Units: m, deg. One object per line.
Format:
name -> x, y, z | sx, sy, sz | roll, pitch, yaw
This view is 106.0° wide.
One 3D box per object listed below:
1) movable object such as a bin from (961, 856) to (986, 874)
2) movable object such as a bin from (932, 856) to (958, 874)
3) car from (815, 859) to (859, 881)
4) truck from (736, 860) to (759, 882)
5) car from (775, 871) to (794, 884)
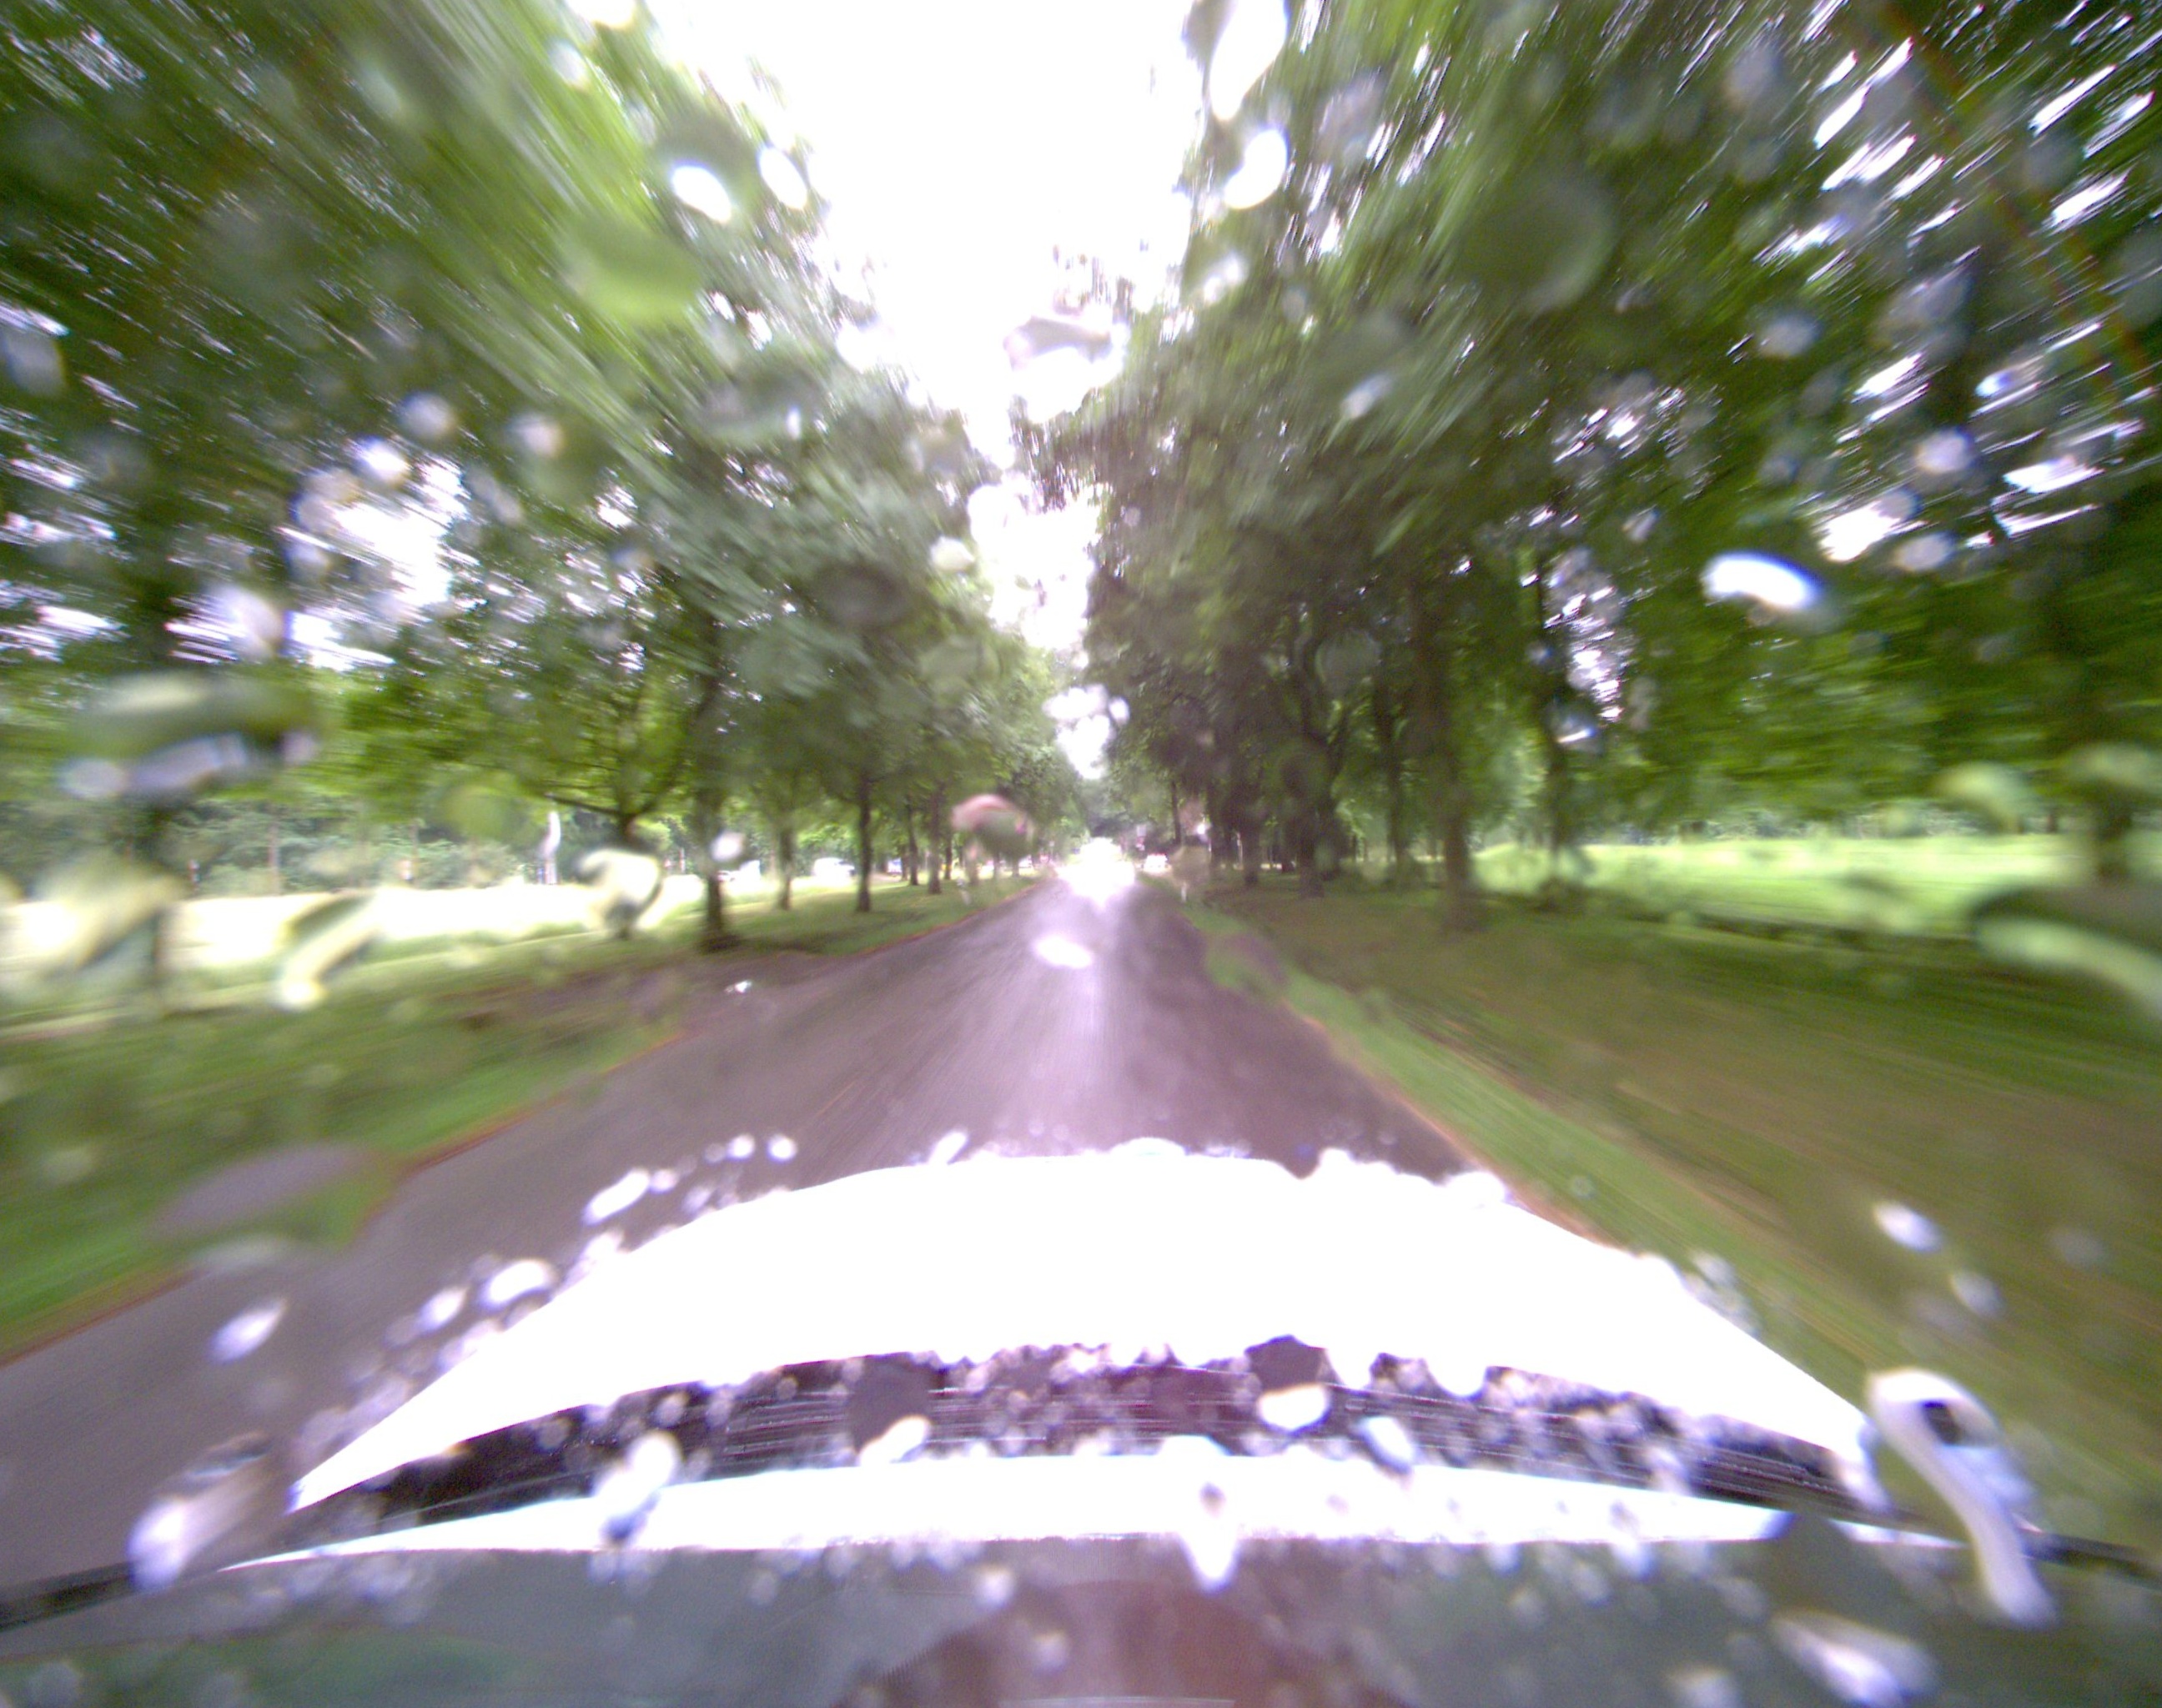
movable object such as a bin -> -20.240, 2.095, 153.292 | 4.582, 3.294, 3.654 | -2, -1, -10
movable object such as a bin -> -25.284, 2.056, 151.733 | 4.655, 3.294, 3.900 | -2, -1, -10
car -> -29.227, 1.908, 97.518 | 5.908, 2.408, 2.407 | -3, -3, 43
truck -> -37.408, 1.900, 91.395 | 1.871, 2.443, 3.334 | -2, -1, -13
car -> -33.873, 2.680, 92.995 | 1.767, 1.429, 4.083 | -2, -1, -17
